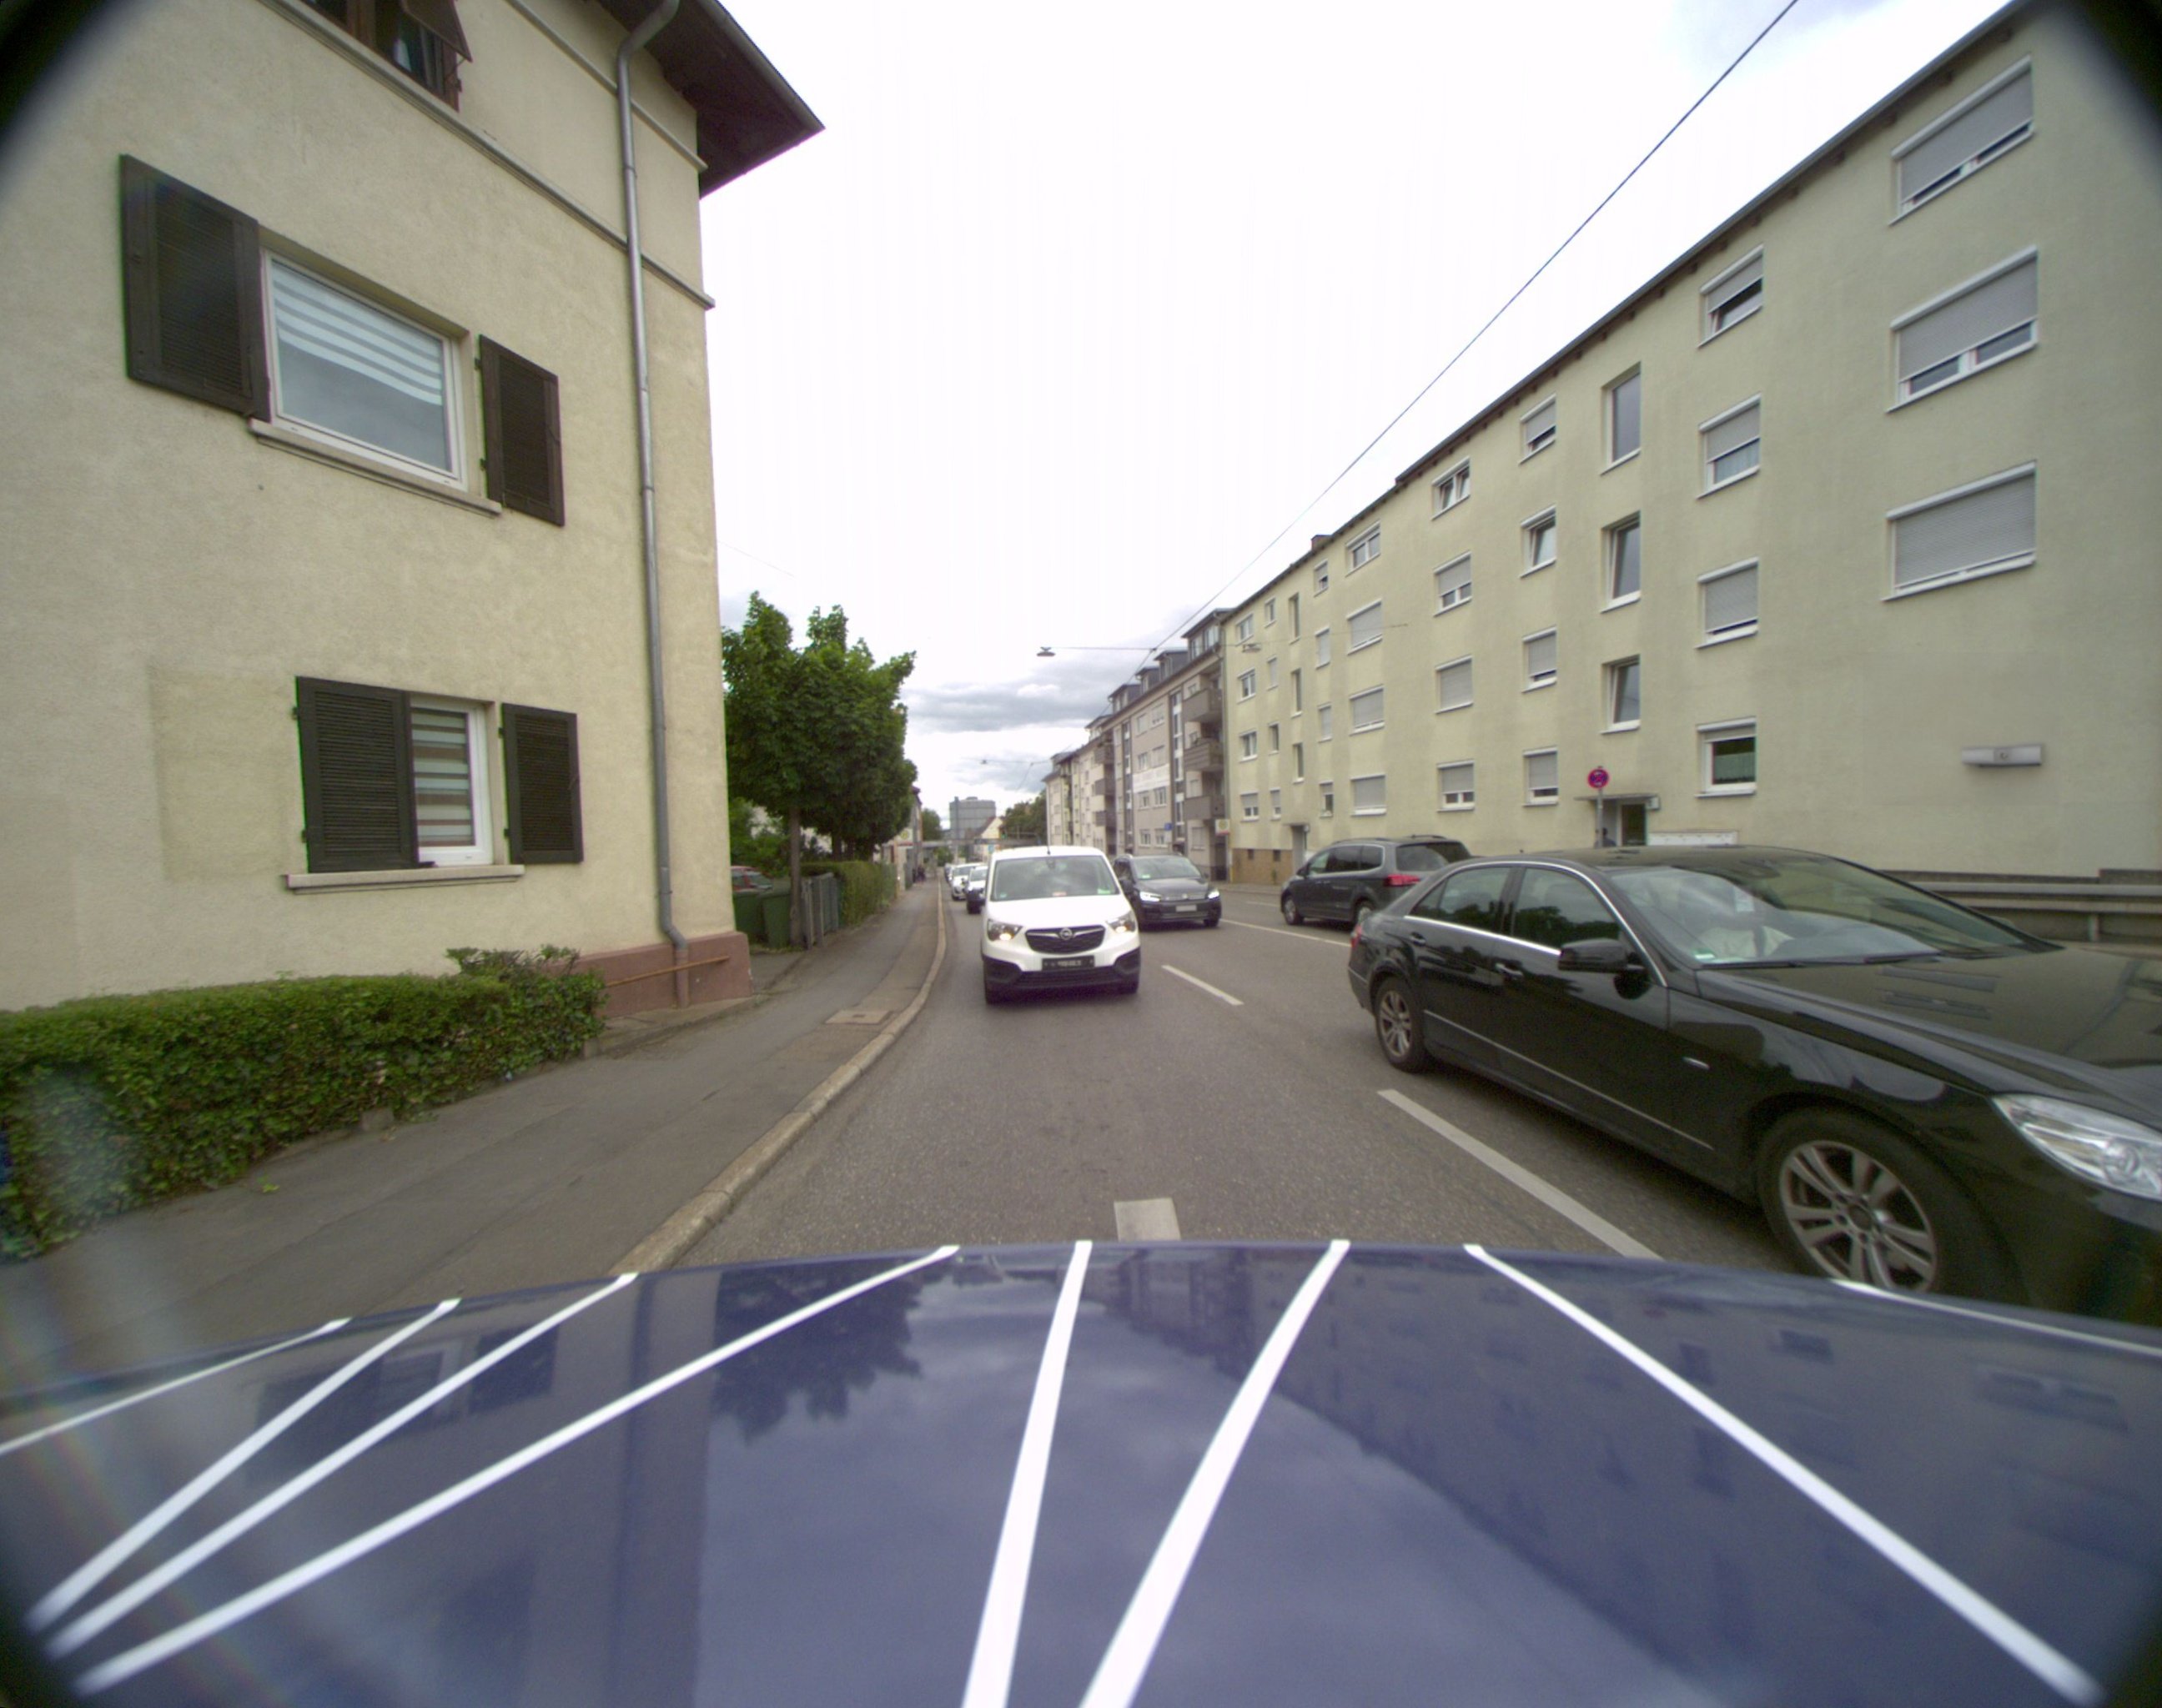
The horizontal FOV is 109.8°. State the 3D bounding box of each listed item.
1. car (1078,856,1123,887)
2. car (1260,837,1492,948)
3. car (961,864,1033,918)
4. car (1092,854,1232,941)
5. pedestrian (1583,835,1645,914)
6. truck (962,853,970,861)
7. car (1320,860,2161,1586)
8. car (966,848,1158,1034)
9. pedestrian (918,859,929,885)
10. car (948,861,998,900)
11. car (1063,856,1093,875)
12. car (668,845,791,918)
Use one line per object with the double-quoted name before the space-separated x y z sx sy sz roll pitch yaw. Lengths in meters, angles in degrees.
"car" 0.944 0.844 38.135 1.603 1.439 3.527 -1 0 -9
"car" 5.313 0.619 14.511 1.910 1.704 4.714 -2 0 -11
"car" -2.948 1.186 25.770 1.901 1.501 4.163 -5 0 -12
"car" 1.650 0.857 17.256 1.864 1.601 4.475 -4 1 -11
"pedestrian" 11.430 0.426 16.312 0.690 1.627 0.778 -3 0 -14
"truck" -38.978 0.922 257.038 2.548 2.522 5.490 -2 0 -9
"car" 3.109 0.800 3.741 1.999 1.420 4.840 -3 0 -4
"car" -0.460 0.864 10.110 1.863 1.772 4.708 -4 1 -7
"pedestrian" -11.350 1.268 54.765 0.648 1.830 0.591 -3 1 -18
"car" -5.095 1.198 35.534 1.901 1.635 3.995 -3 0 -13
"car" -0.297 1.003 65.942 1.777 1.591 3.536 -1 0 -13
"car" -8.157 0.583 17.953 1.702 1.452 3.436 -4 1 -10
